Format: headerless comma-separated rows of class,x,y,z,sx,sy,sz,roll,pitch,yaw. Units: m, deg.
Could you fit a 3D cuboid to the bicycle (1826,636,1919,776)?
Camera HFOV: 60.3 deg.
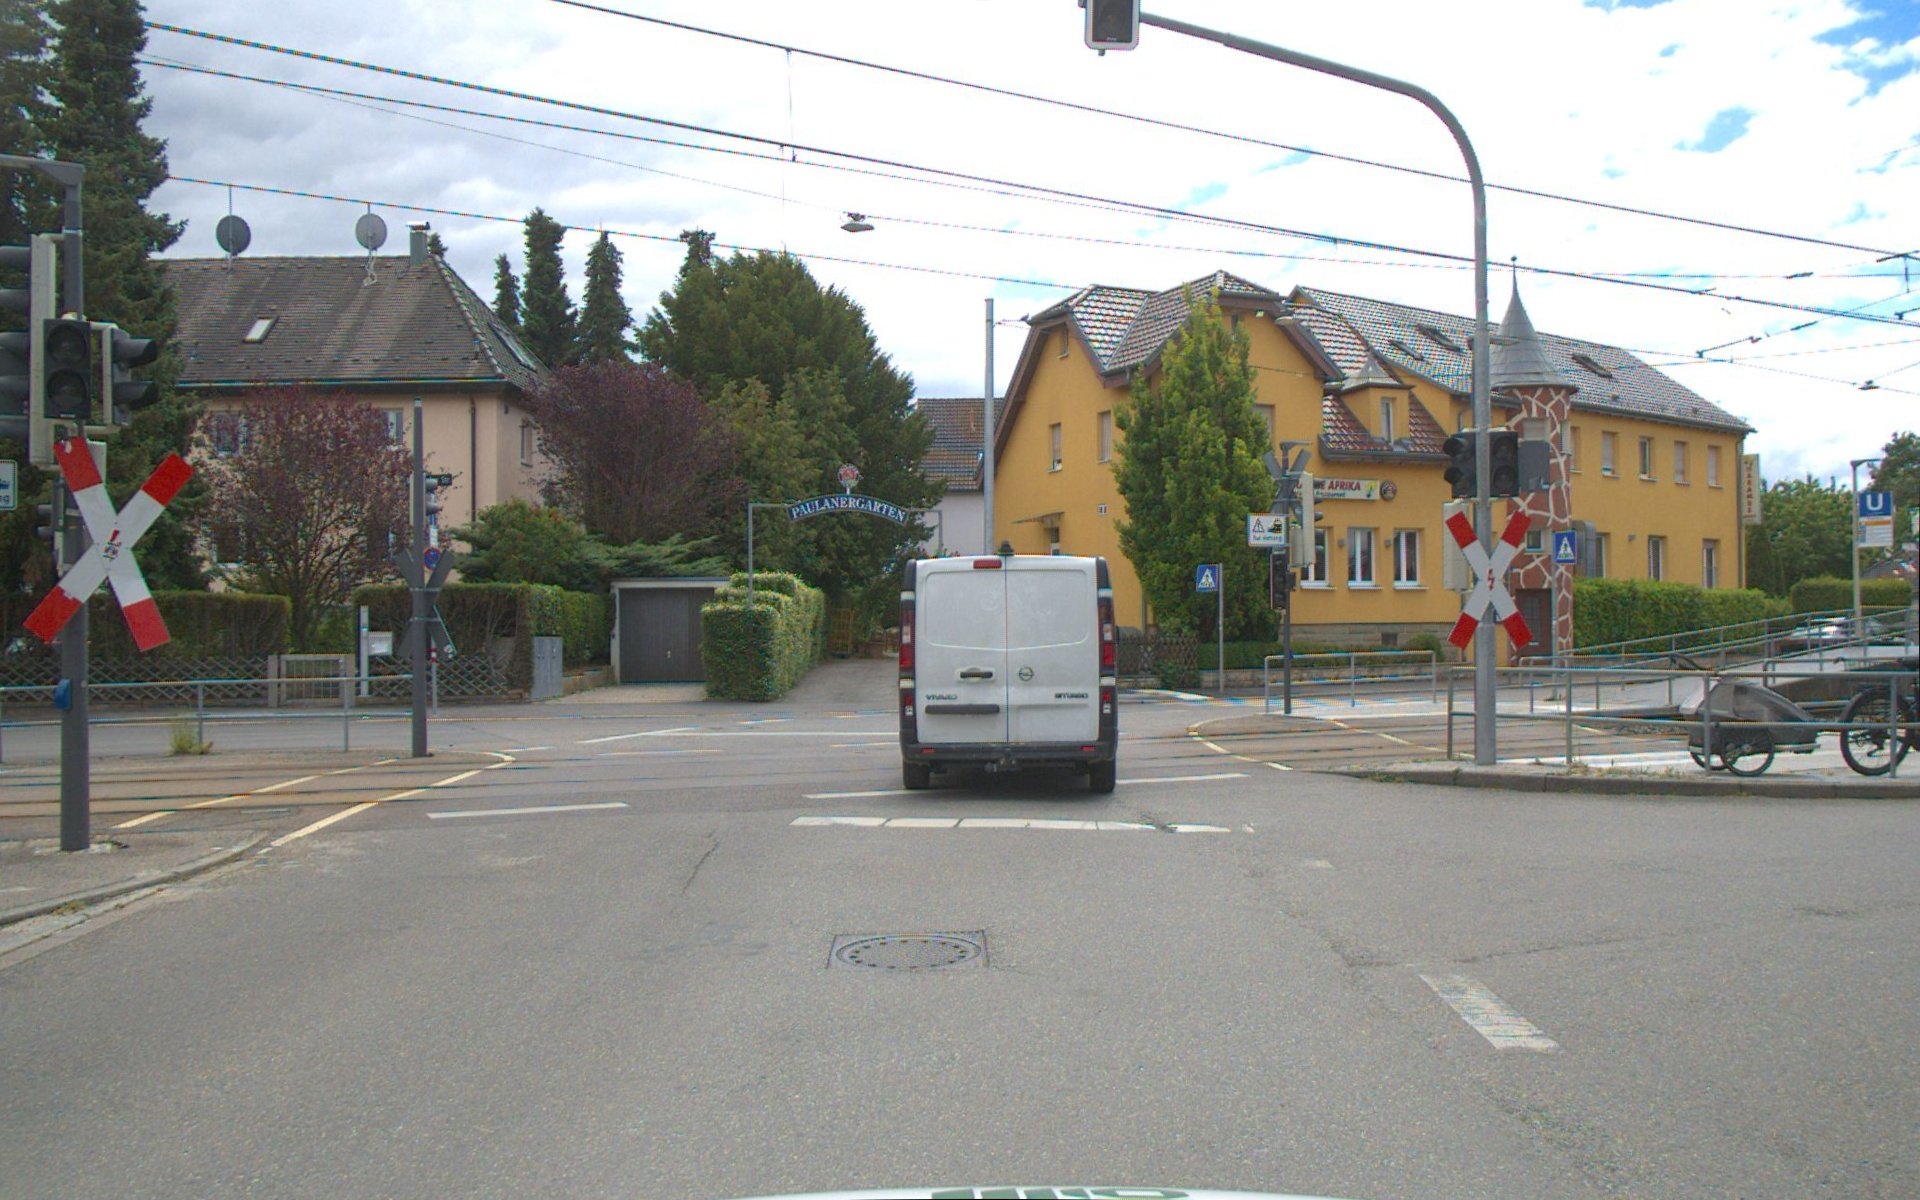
bicycle,8.462,0.906,14.423,1.656,1.176,0.465,-1,-1,-10

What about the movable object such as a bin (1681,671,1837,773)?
movable object such as a bin,6.911,1.050,14.337,1.070,0.839,0.579,0,-1,-6

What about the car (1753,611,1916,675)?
car,23.131,1.126,43.701,4.329,1.591,2.330,1,-1,-39

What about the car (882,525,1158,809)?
car,0.339,0.540,15.438,2.075,2.172,5.437,0,-1,-3
